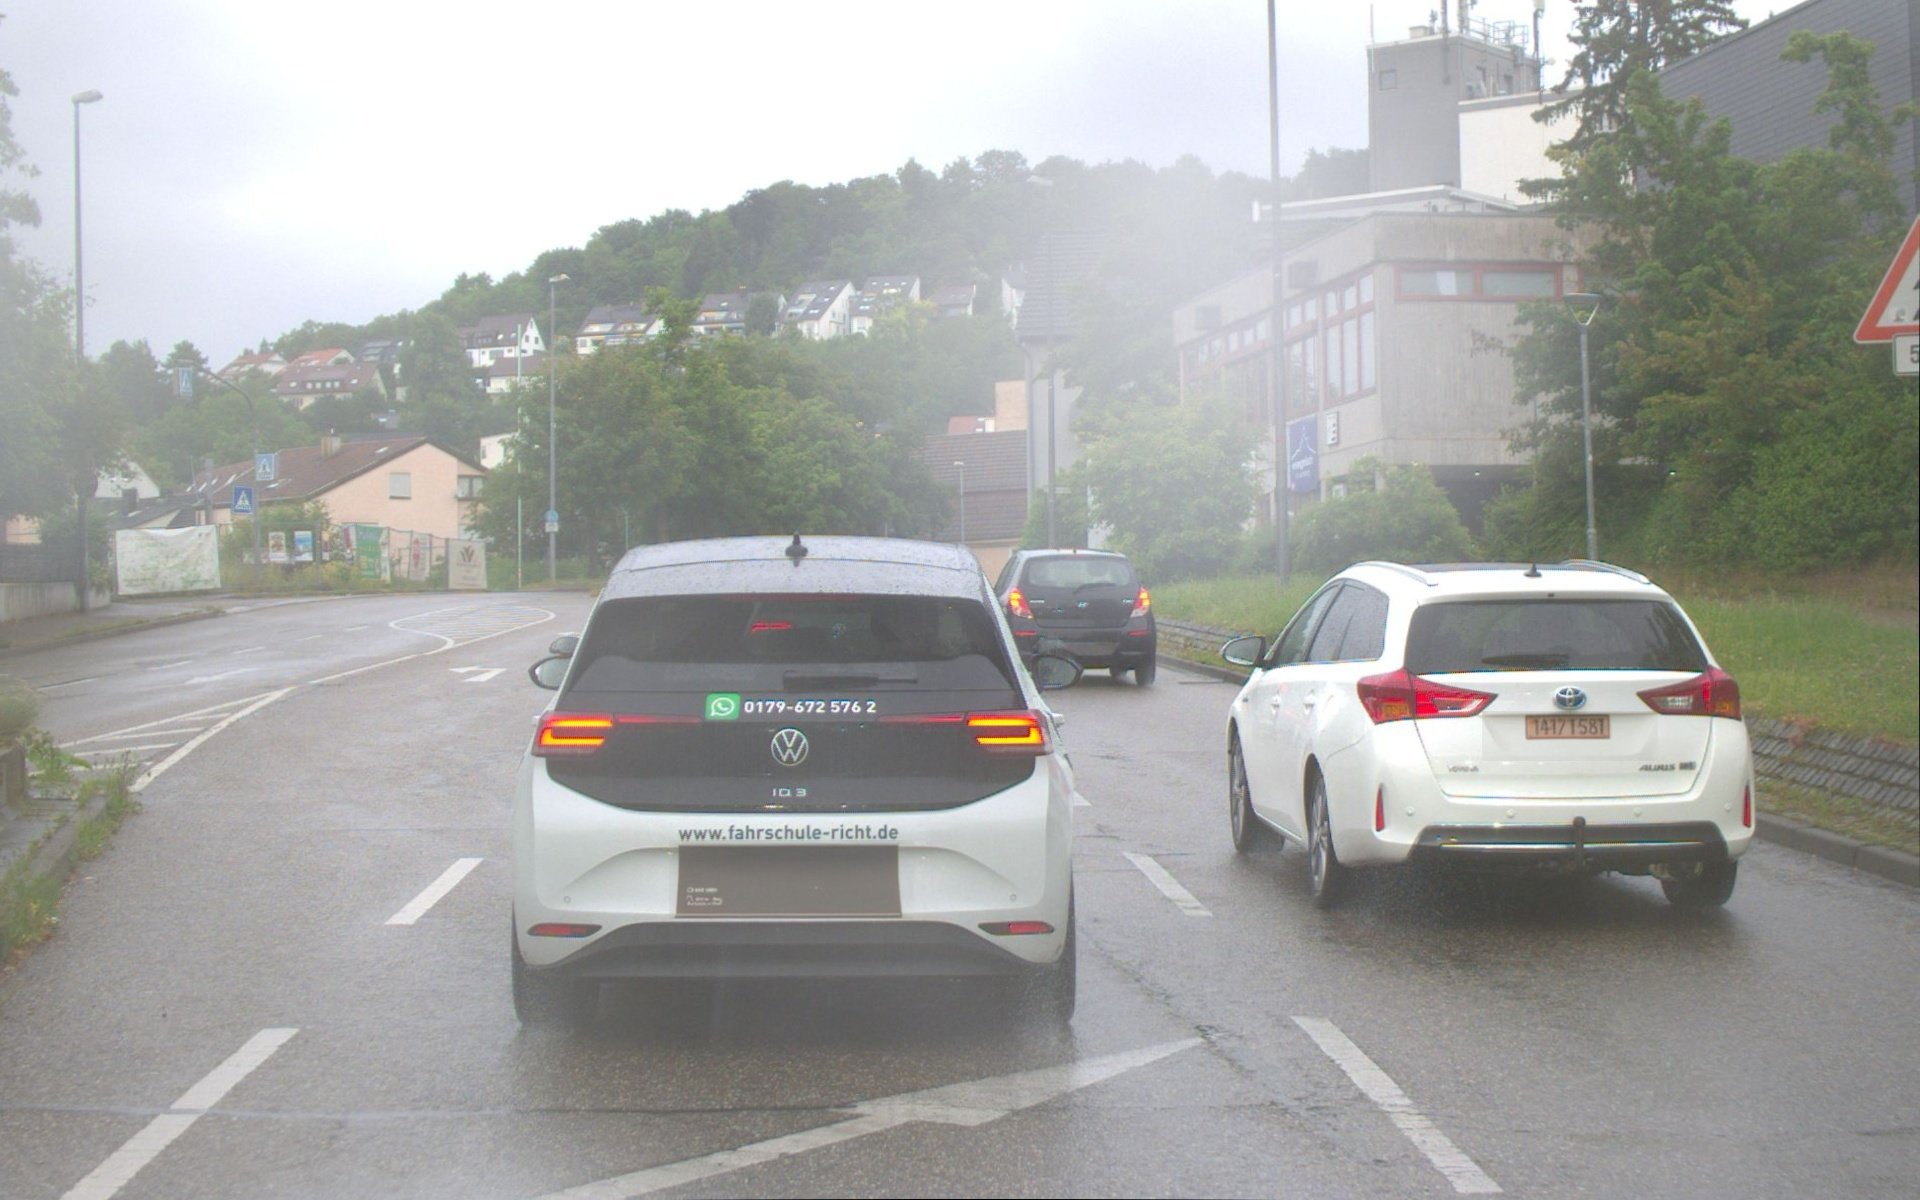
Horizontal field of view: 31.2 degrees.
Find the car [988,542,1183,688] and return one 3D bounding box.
[{"bbox_3d":[1.338,0.160,38.188,1.993,1.448,3.771,-3,0,0],"label":"car"}]

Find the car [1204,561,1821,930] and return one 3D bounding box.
[{"bbox_3d":[2.269,0.556,15.295,1.848,1.405,4.302,0,0,-3],"label":"car"}]

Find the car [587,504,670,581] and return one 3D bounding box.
[{"bbox_3d":[-9.159,-1.570,95.209,1.993,2.007,4.000,1,0,-2],"label":"car"}]

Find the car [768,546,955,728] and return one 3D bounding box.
[{"bbox_3d":[-0.908,0.280,30.999,1.567,1.525,4.001,0,1,-2],"label":"car"}]

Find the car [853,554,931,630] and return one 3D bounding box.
[{"bbox_3d":[-1.827,-0.227,93.914,1.993,2.007,4.000,1,0,0],"label":"car"}]

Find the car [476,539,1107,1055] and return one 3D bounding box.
[{"bbox_3d":[-0.475,0.570,12.054,1.828,1.495,4.168,0,0,0],"label":"car"}]
